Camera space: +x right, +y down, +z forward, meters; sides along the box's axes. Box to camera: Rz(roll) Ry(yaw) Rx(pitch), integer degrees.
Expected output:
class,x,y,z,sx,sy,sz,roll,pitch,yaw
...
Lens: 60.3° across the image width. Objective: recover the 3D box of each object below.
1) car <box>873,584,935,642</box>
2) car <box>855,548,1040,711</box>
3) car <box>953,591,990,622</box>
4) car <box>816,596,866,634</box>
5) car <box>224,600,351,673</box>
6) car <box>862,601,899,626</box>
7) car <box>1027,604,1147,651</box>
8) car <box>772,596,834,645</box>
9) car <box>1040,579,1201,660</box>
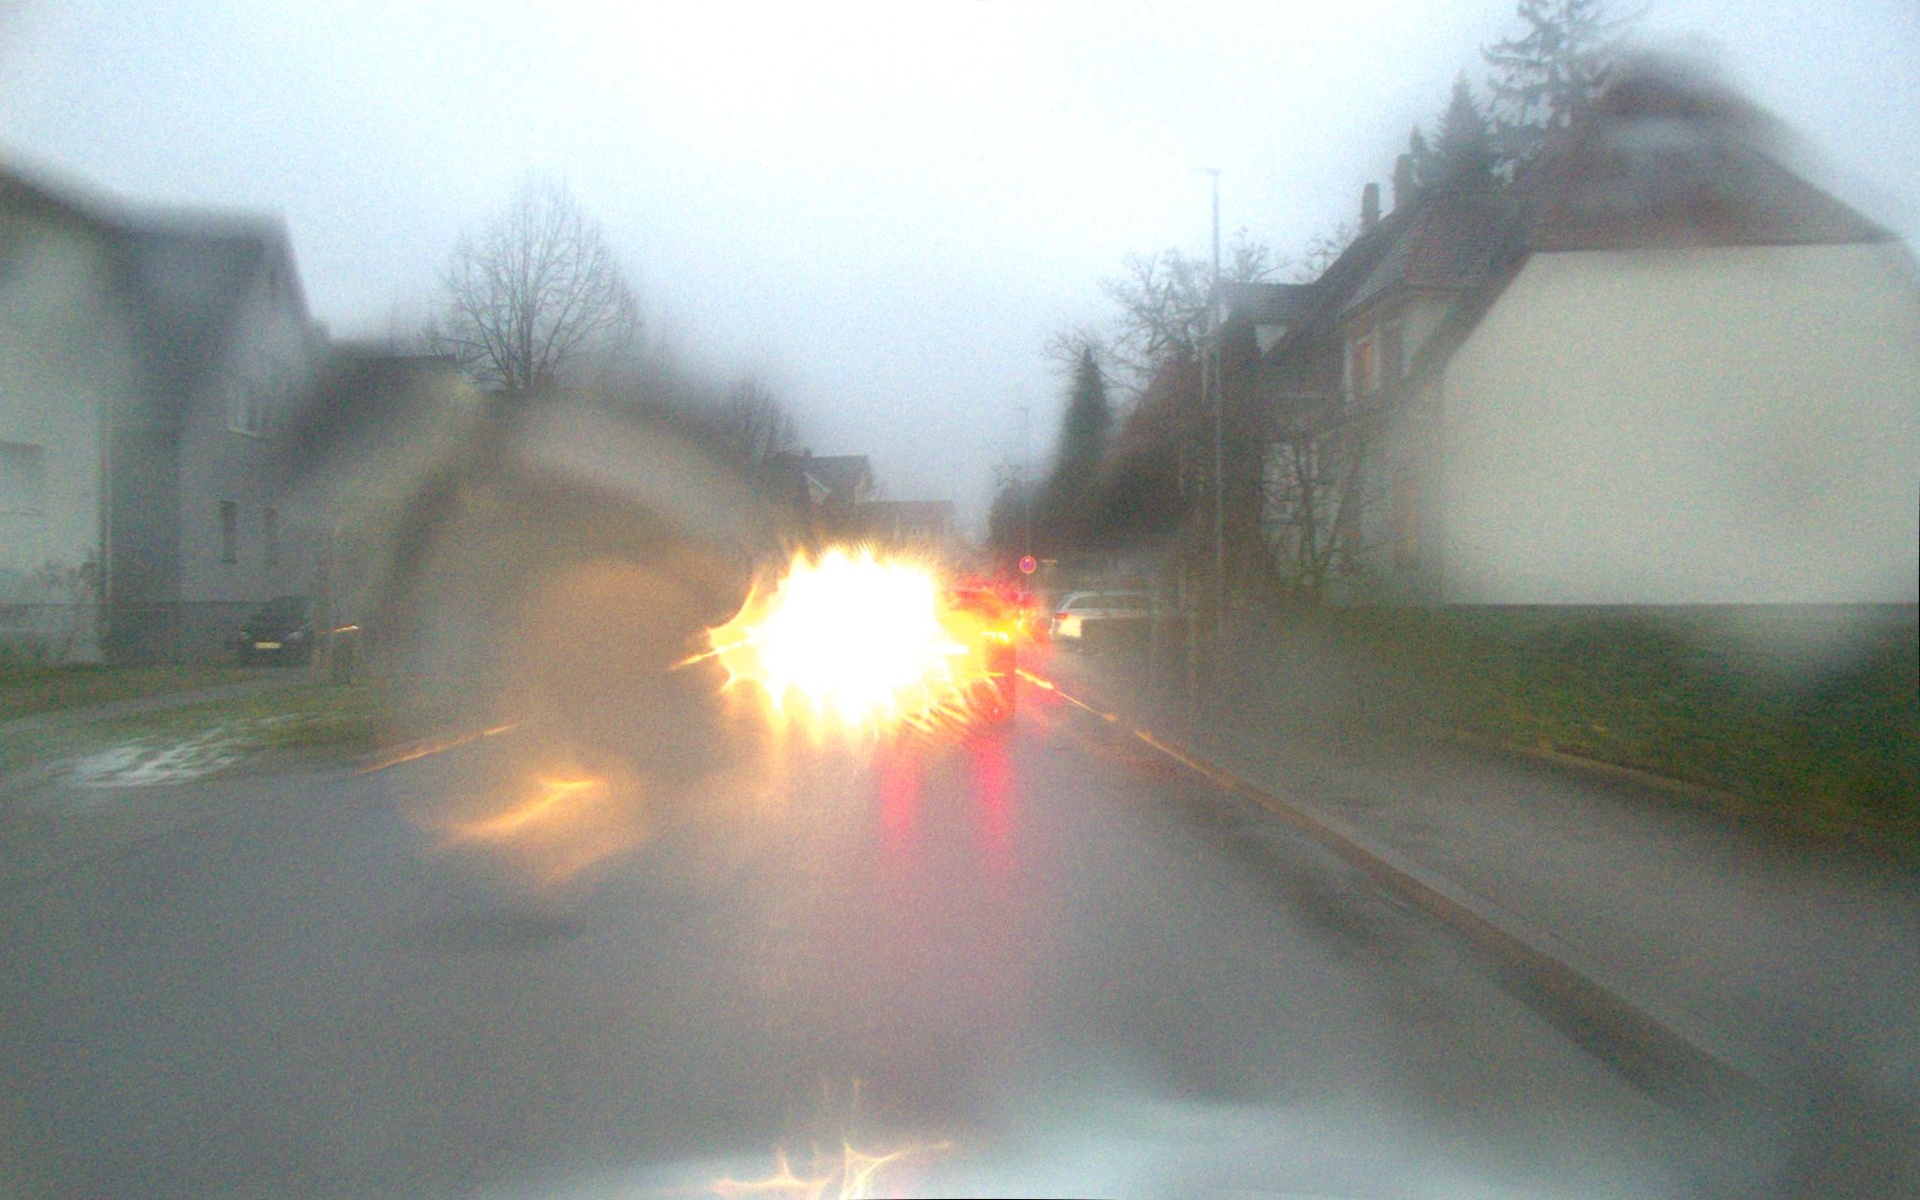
class,x,y,z,sx,sy,sz,roll,pitch,yaw
car,-1.739,0.369,50.716,1.820,1.676,3.998,1,1,-3
car,-0.255,0.376,22.759,2.263,1.972,5.015,0,0,-3
car,0.756,0.458,109.677,2.263,1.972,5.016,0,0,-2
car,-5.226,0.637,73.105,1.873,1.456,4.001,0,3,1
car,-14.182,0.752,35.066,1.746,1.417,3.988,2,-1,-12
car,-4.411,0.735,92.416,1.804,1.355,3.937,-1,0,0
car,4.011,0.868,52.735,3.690,1.414,1.765,-1,0,0
car,-5.463,0.699,57.934,1.874,1.549,4.000,0,2,-1
car,4.215,0.504,43.885,4.158,2.049,1.811,-1,0,2
